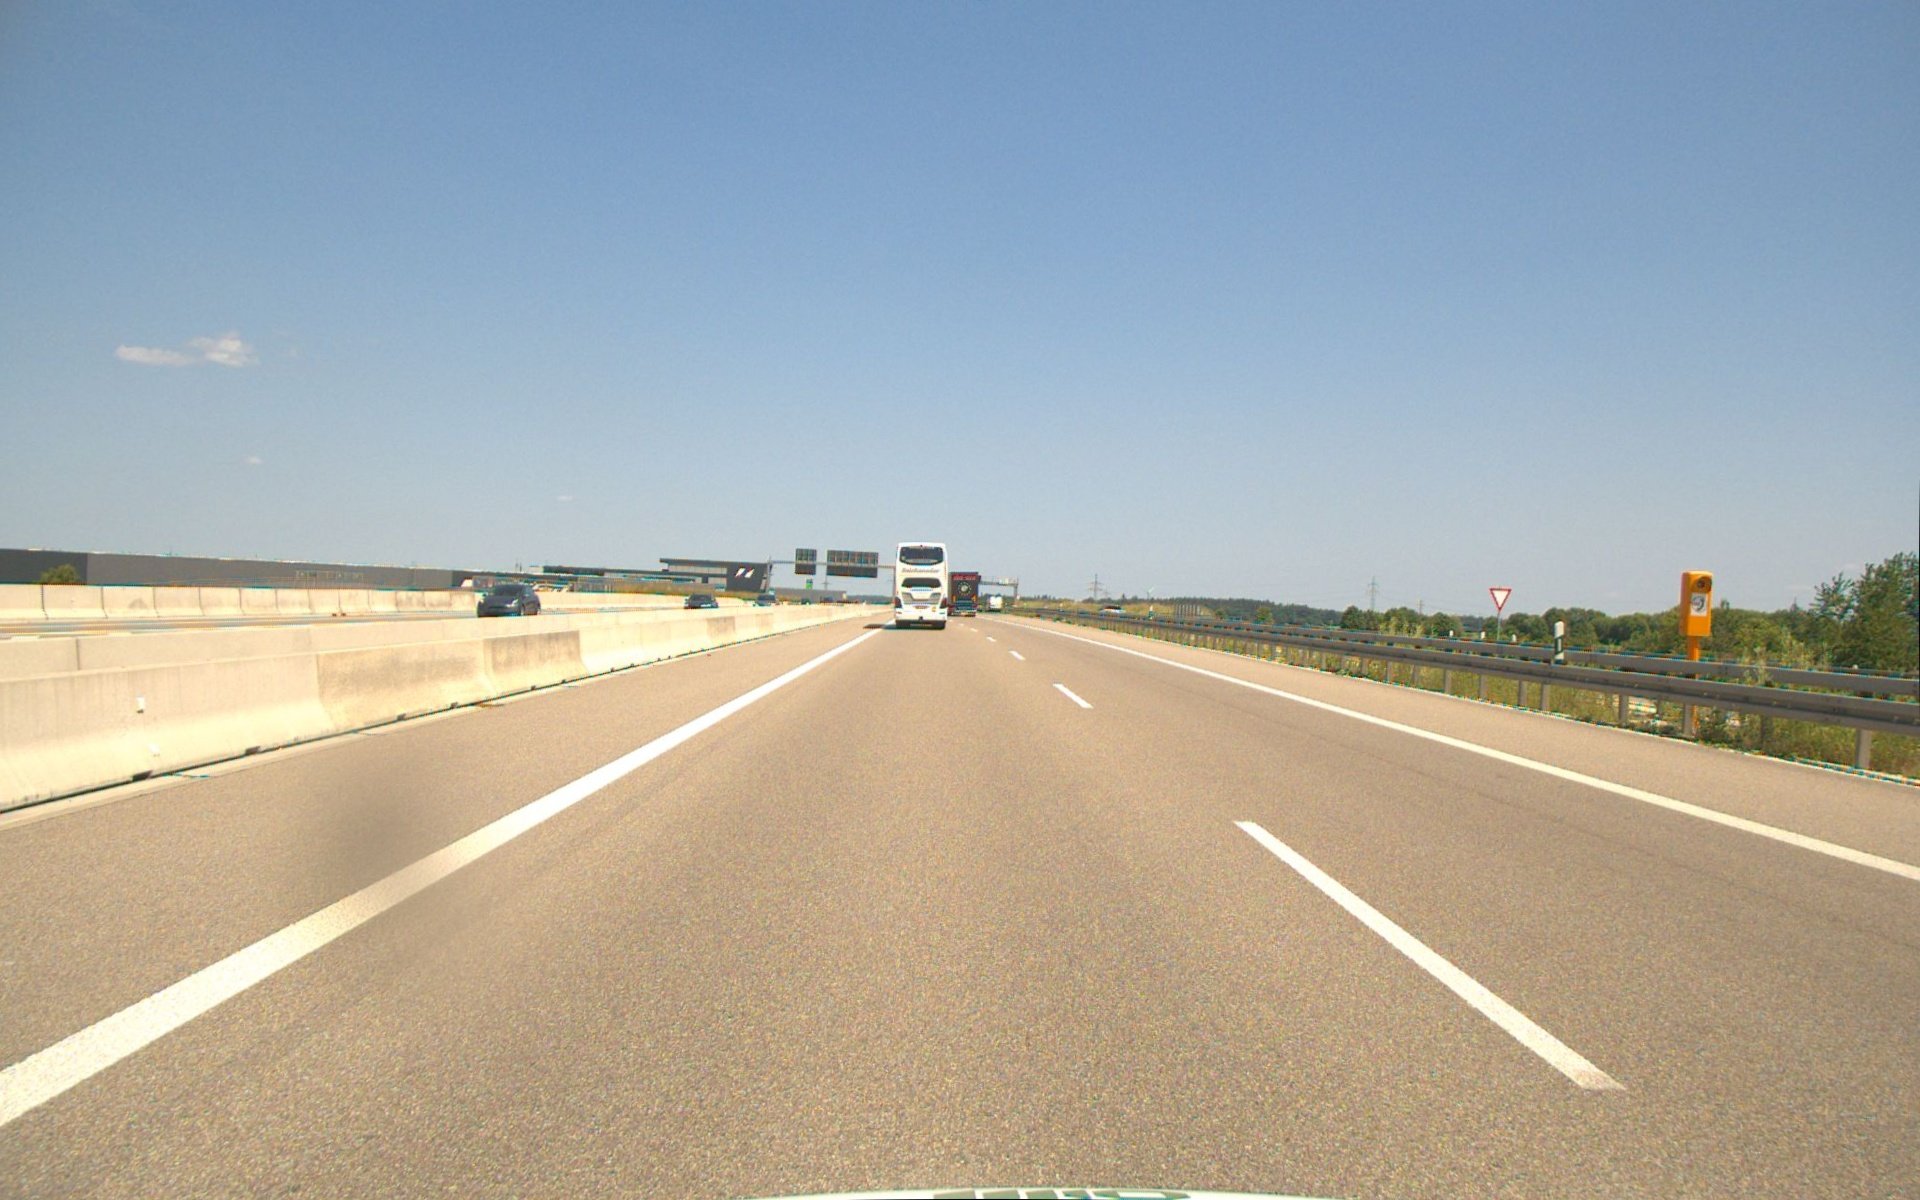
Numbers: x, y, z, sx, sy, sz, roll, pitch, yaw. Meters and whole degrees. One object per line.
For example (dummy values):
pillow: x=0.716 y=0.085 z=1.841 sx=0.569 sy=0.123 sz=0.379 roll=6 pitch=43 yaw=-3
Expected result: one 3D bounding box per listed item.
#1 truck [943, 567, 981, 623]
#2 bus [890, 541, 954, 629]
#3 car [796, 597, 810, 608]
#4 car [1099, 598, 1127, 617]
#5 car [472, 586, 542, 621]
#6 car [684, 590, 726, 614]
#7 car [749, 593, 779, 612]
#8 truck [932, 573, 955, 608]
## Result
truck: x=0.246 y=-0.385 z=156.224 sx=3.310 sy=4.542 sz=13.565 roll=2 pitch=-2 yaw=1
bus: x=-1.978 y=-0.721 z=81.874 sx=2.921 sy=4.044 sz=9.100 roll=1 pitch=0 yaw=-2
car: x=-22.626 y=0.354 z=238.583 sx=1.871 sy=1.485 sz=4.282 roll=1 pitch=0 yaw=-2
car: x=13.383 y=0.642 z=145.093 sx=1.853 sy=1.556 sz=4.259 roll=1 pitch=0 yaw=-3
car: x=-19.887 y=0.141 z=72.805 sx=1.872 sy=1.445 sz=4.549 roll=1 pitch=0 yaw=-1
car: x=-16.342 y=0.101 z=106.076 sx=1.873 sy=1.445 sz=4.908 roll=1 pitch=0 yaw=0
car: x=-15.226 y=0.182 z=128.508 sx=1.805 sy=1.445 sz=4.524 roll=1 pitch=0 yaw=-1
truck: x=-1.869 y=-1.072 z=185.881 sx=2.388 sy=3.855 sz=6.490 roll=1 pitch=0 yaw=-2
